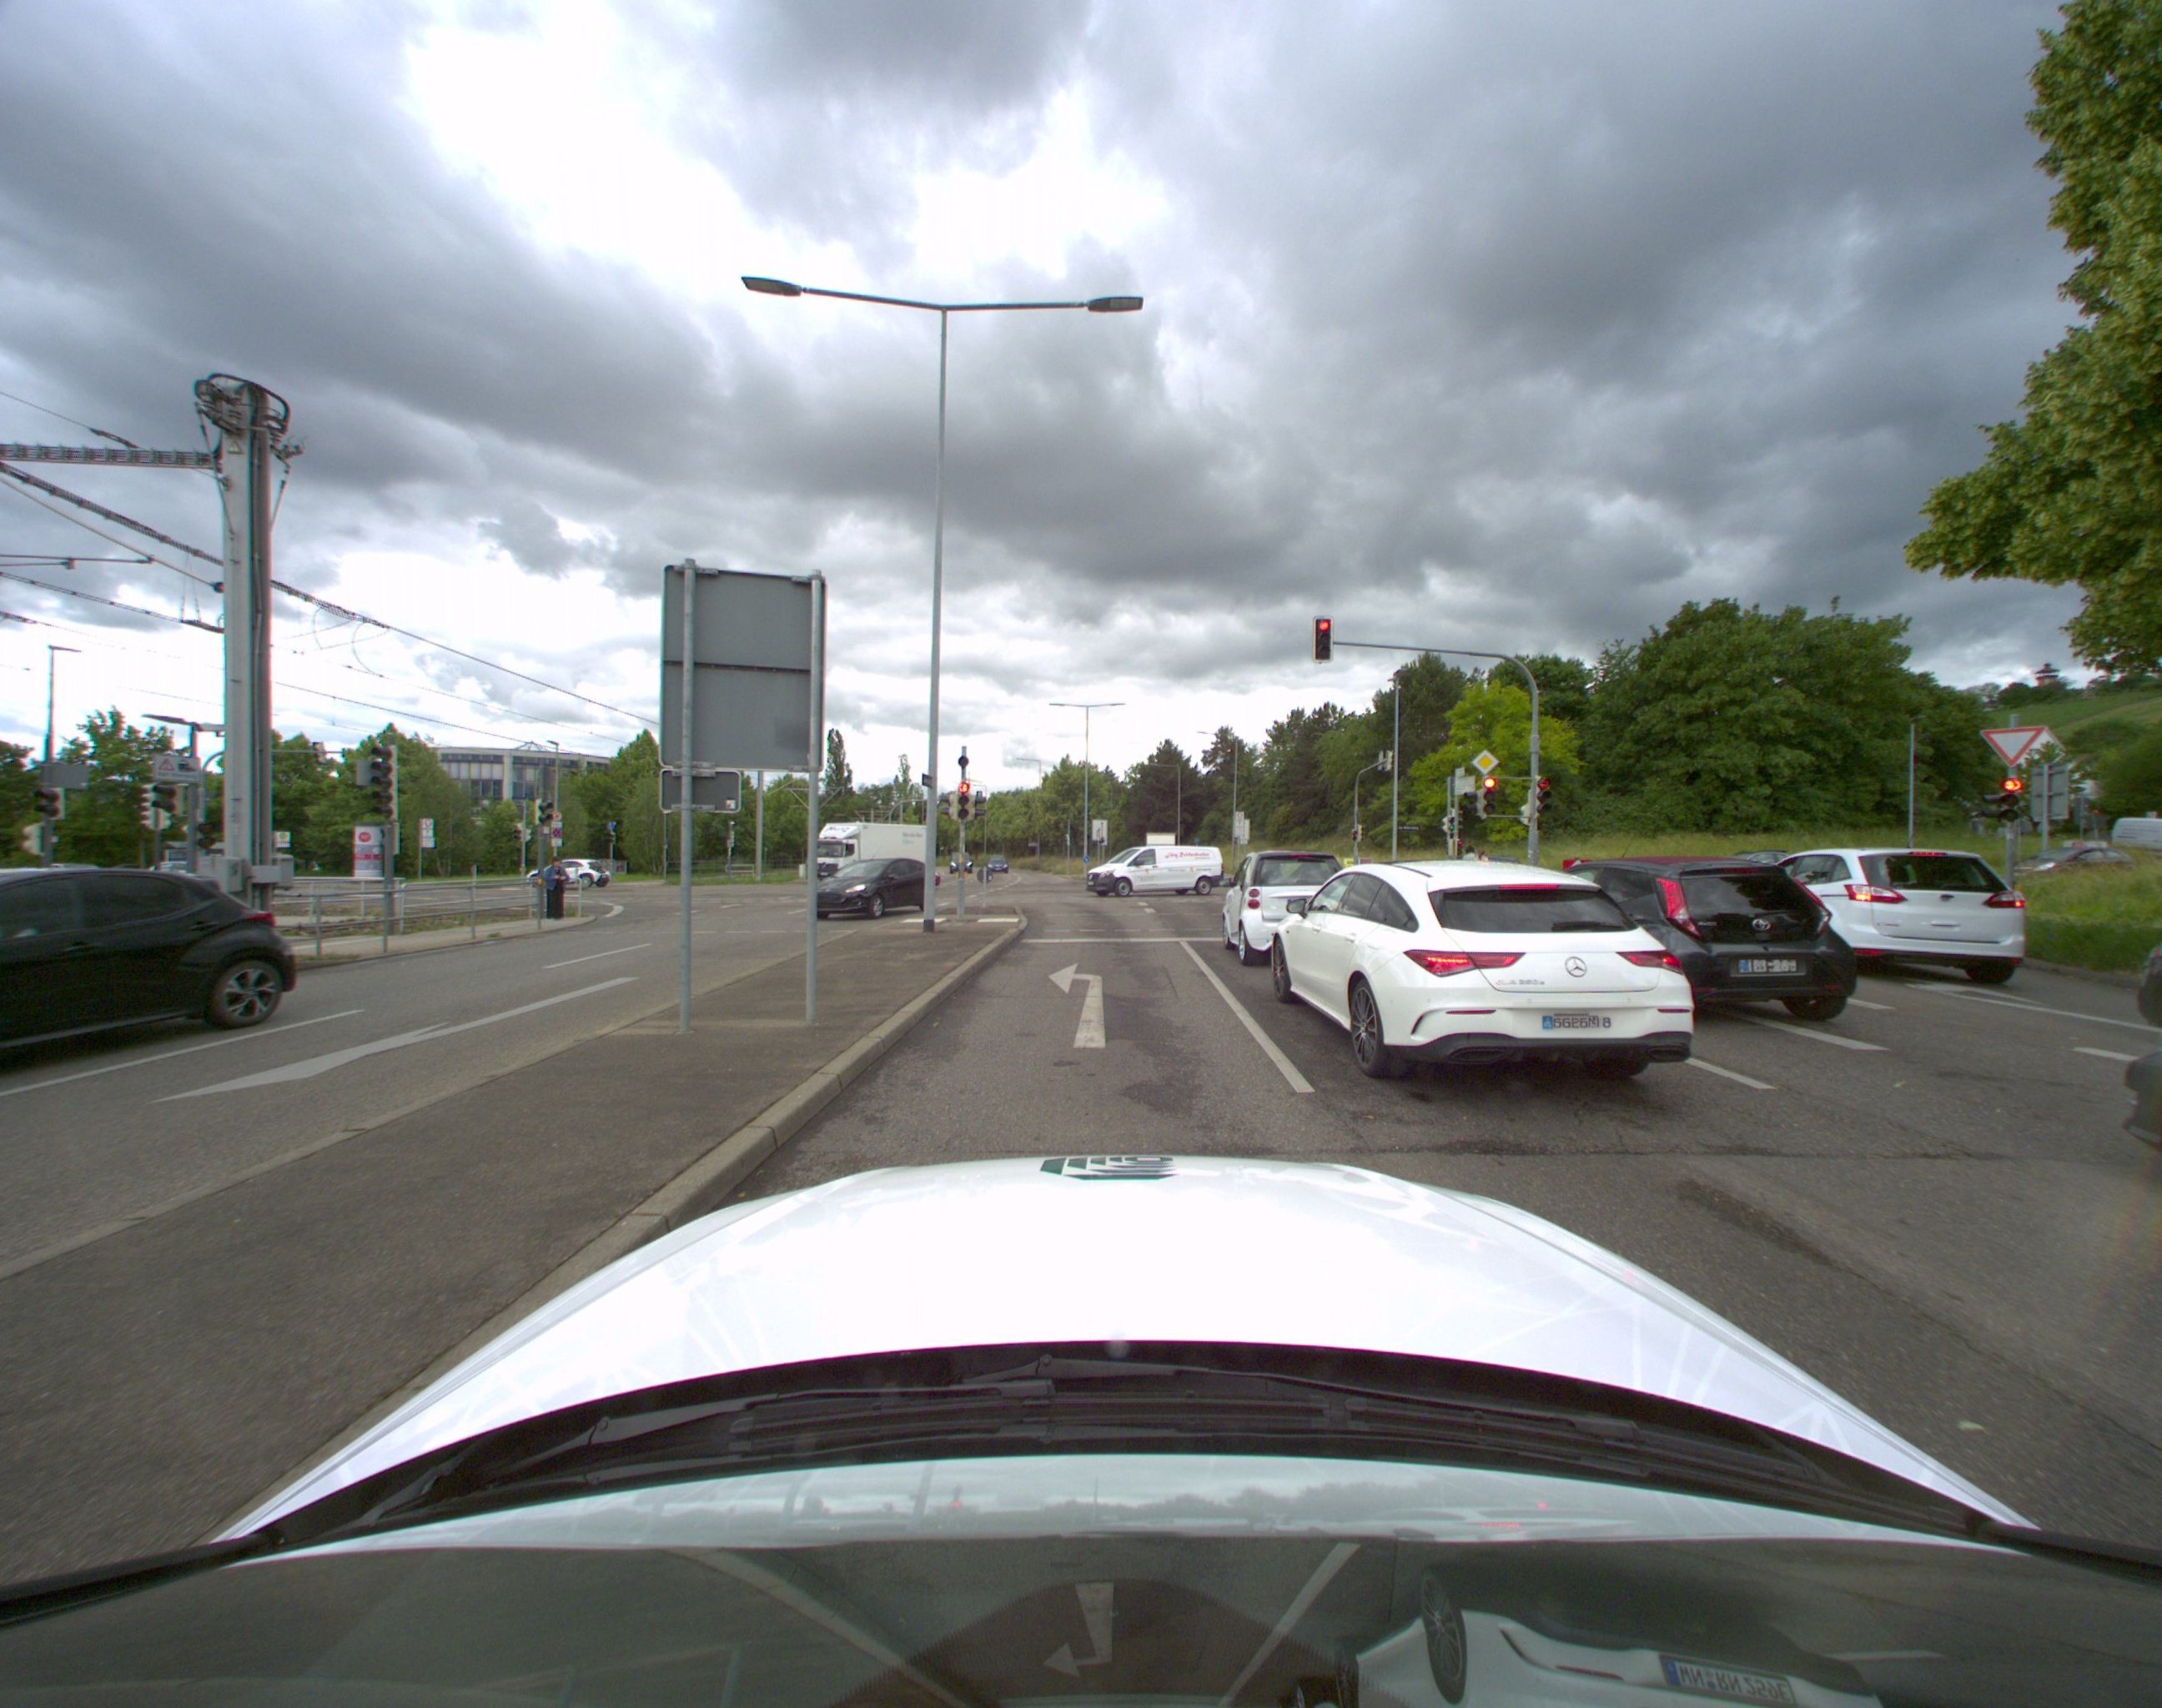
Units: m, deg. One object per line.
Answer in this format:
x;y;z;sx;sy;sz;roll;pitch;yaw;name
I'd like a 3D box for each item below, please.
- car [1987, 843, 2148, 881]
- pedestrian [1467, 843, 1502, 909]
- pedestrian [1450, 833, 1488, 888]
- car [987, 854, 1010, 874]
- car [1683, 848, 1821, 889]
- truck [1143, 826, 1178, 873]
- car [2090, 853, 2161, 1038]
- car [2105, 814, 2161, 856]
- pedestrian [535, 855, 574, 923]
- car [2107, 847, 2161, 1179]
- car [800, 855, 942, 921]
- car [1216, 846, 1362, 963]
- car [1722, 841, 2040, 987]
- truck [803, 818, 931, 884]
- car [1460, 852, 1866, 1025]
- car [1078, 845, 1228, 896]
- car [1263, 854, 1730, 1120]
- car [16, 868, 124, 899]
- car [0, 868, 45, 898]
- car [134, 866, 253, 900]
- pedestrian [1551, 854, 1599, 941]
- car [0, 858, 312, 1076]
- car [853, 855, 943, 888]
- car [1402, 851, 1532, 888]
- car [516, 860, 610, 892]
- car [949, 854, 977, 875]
38.900;0.306;32.204;3.964;1.449;1.691;0;0;8;car
10.284;0.557;20.768;0.607;1.634;0.616;1;0;10;pedestrian
11.334;0.184;23.821;0.861;1.560;0.518;-1;1;0;pedestrian
-7.185;0.867;71.176;1.913;1.576;3.992;-1;1;-6;car
27.001;0.575;32.881;3.969;1.601;1.840;0;0;4;car
6.510;-0.407;66.687;2.670;3.598;7.275;-1;1;5;truck
9.013;0.766;4.944;1.505;1.437;3.649;3;1;8;car
67.992;-1.215;50.844;2.161;2.539;5.802;0;3;18;car
-12.582;0.820;19.466;0.349;1.556;0.657;1;3;36;pedestrian
5.475;0.704;1.571;1.818;1.435;4.216;-1;1;3;car
-5.160;0.771;20.527;1.621;1.480;3.796;0;0;19;car
2.918;0.665;11.925;1.529;1.504;2.671;-1;0;2;car
10.952;0.668;11.598;1.687;1.637;4.266;1;1;22;car
-12.781;-0.166;49.819;2.638;3.649;9.548;0;0;19;truck
5.713;0.693;8.698;1.540;1.404;4.001;-1;0;1;car
2.759;0.605;31.065;5.442;1.815;1.984;0;-2;-23;car
2.763;0.734;6.645;1.715;1.421;4.359;-1;0;2;car
-45.053;1.300;36.319;3.264;1.310;1.556;0;0;8;car
-49.915;1.310;37.079;3.715;1.310;1.727;0;0;8;car
-38.594;1.243;35.426;3.963;1.377;1.522;0;0;9;car
8.406;0.727;13.869;0.607;1.453;0.355;0;0;10;pedestrian
-8.325;0.800;5.996;1.588;1.496;3.938;0;0;0;car
-8.947;0.844;39.755;4.006;1.517;1.718;-1;-2;-25;car
15.864;0.609;33.677;4.472;1.461;2.002;0;0;3;car
-27.391;1.142;43.138;3.728;1.507;1.779;-1;3;-5;car
-10.430;0.918;72.312;1.910;1.728;3.999;0;0;0;car
